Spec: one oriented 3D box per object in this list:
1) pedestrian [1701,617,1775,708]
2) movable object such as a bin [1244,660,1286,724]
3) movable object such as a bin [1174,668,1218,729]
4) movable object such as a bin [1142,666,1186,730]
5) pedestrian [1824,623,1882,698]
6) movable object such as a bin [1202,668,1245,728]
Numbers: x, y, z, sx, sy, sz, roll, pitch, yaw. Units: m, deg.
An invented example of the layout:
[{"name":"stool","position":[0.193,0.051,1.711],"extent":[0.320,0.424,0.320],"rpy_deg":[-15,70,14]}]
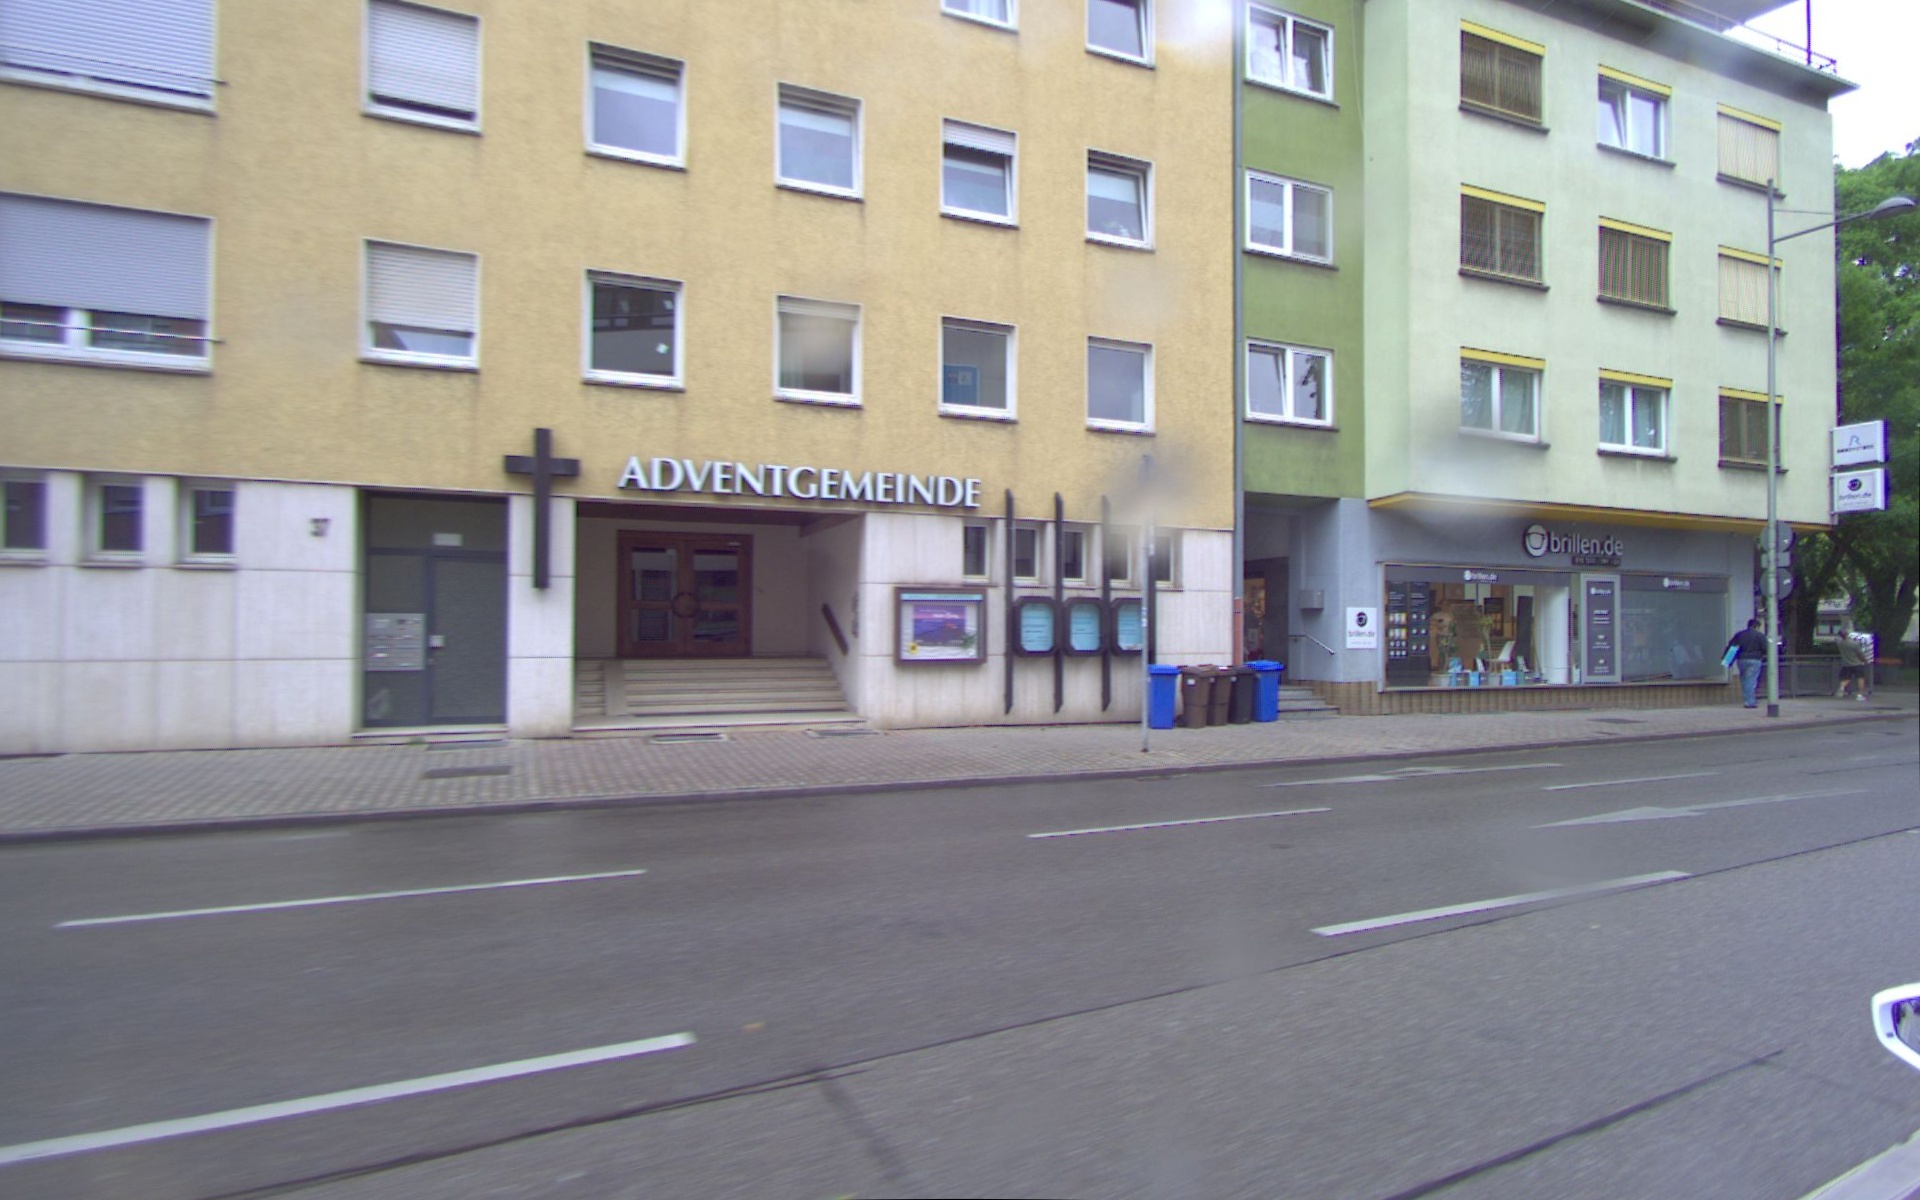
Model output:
[{"name":"pedestrian","position":[16.223,1.293,20.957],"extent":[0.862,1.812,0.863],"rpy_deg":[1,1,-23]},{"name":"movable object such as a bin","position":[5.010,1.499,16.489],"extent":[0.537,1.020,0.398],"rpy_deg":[1,-1,-22]},{"name":"movable object such as a bin","position":[3.680,1.527,15.661],"extent":[0.495,0.912,0.453],"rpy_deg":[1,-1,-22]},{"name":"movable object such as a bin","position":[3.128,1.498,15.429],"extent":[0.495,0.942,0.453],"rpy_deg":[1,-1,-22]},{"name":"pedestrian","position":[21.015,1.403,23.644],"extent":[0.807,1.710,0.794],"rpy_deg":[1,-2,-30]},{"name":"movable object such as a bin","position":[4.161,1.539,15.870],"extent":[0.495,0.912,0.453],"rpy_deg":[1,-1,-22]}]
